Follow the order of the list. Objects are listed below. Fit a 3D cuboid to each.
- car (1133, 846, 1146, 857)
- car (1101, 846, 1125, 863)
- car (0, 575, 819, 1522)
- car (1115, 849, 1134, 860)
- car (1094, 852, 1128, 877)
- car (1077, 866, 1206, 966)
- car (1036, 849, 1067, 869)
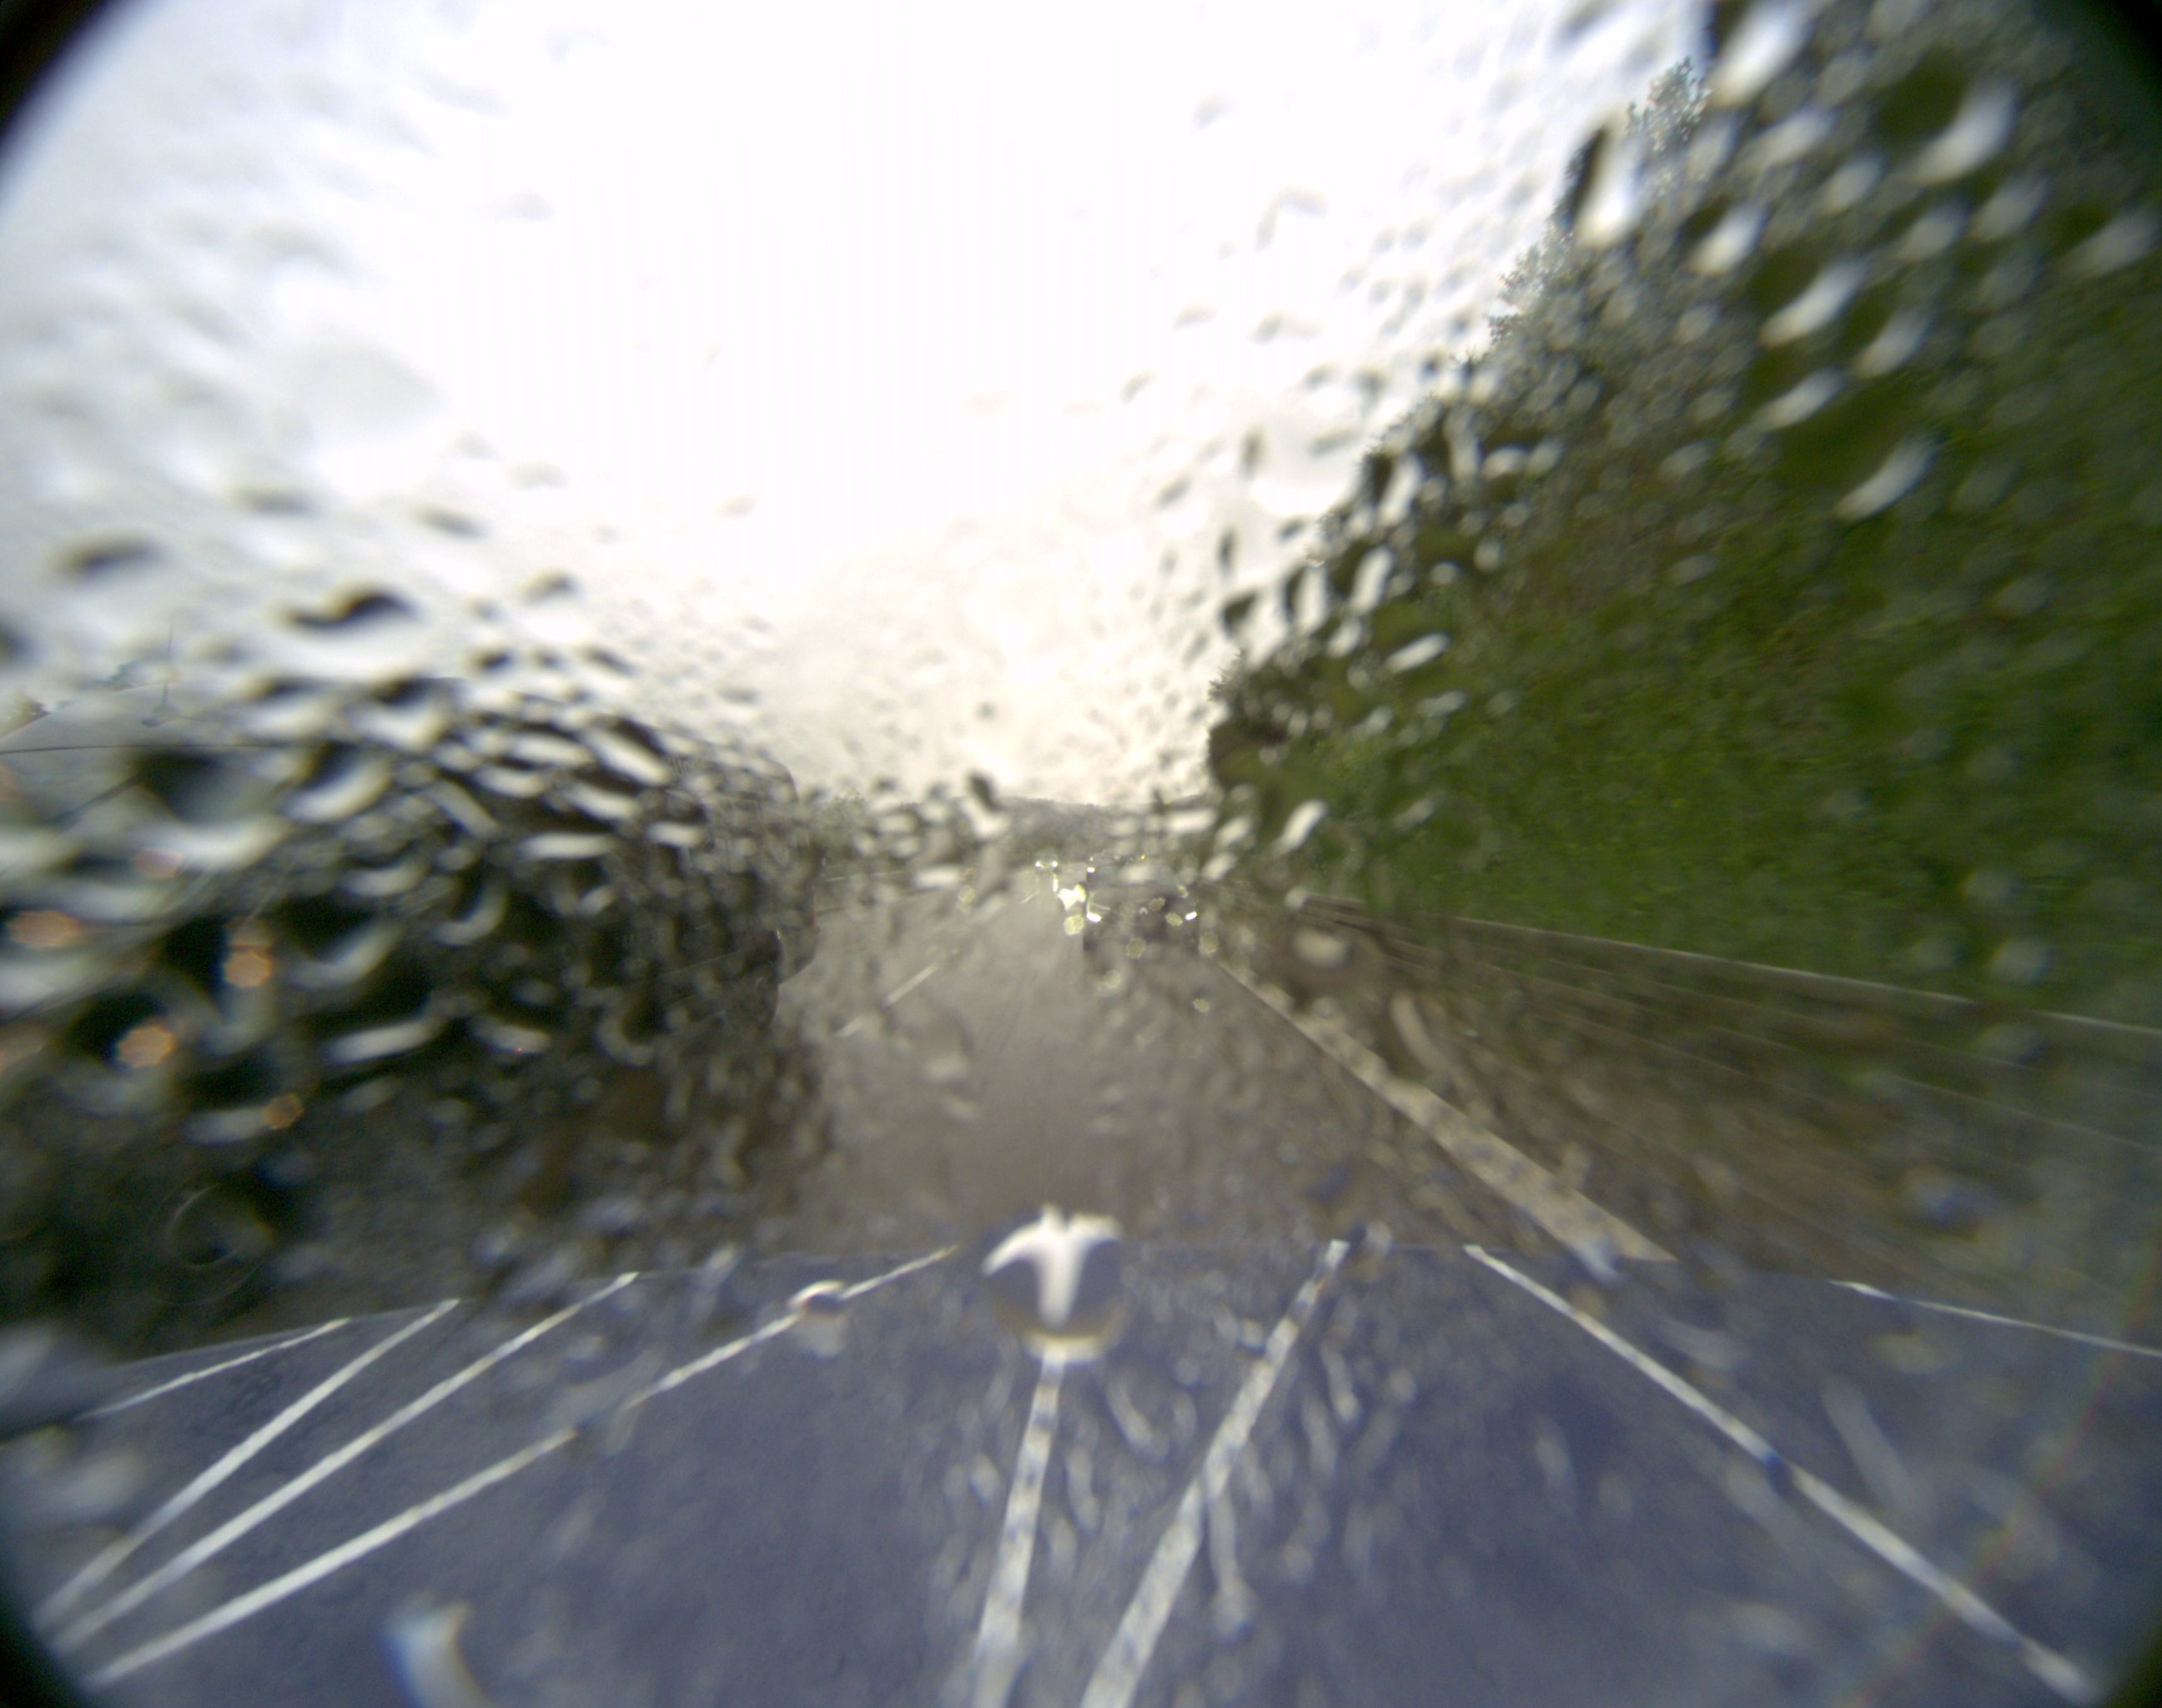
[{"bbox_3d":[8.684,-0.329,112.361,1.657,1.535,3.665,-2,1,7],"label":"car"},{"bbox_3d":[3.116,-0.012,72.755,1.905,1.545,4.566,-2,1,6],"label":"car"},{"bbox_3d":[-3.852,0.507,4.852,1.999,2.480,6.704,-1,0,0],"label":"car"},{"bbox_3d":[5.306,0.039,92.298,1.989,1.316,4.145,-2,1,8],"label":"car"},{"bbox_3d":[1.742,0.571,43.085,1.712,1.316,3.946,-2,1,6],"label":"car"},{"bbox_3d":[0.903,0.931,13.001,1.839,1.316,4.135,-1,0,1],"label":"car"},{"bbox_3d":[-2.340,0.379,60.816,1.990,1.407,4.565,-2,1,4],"label":"car"}]
